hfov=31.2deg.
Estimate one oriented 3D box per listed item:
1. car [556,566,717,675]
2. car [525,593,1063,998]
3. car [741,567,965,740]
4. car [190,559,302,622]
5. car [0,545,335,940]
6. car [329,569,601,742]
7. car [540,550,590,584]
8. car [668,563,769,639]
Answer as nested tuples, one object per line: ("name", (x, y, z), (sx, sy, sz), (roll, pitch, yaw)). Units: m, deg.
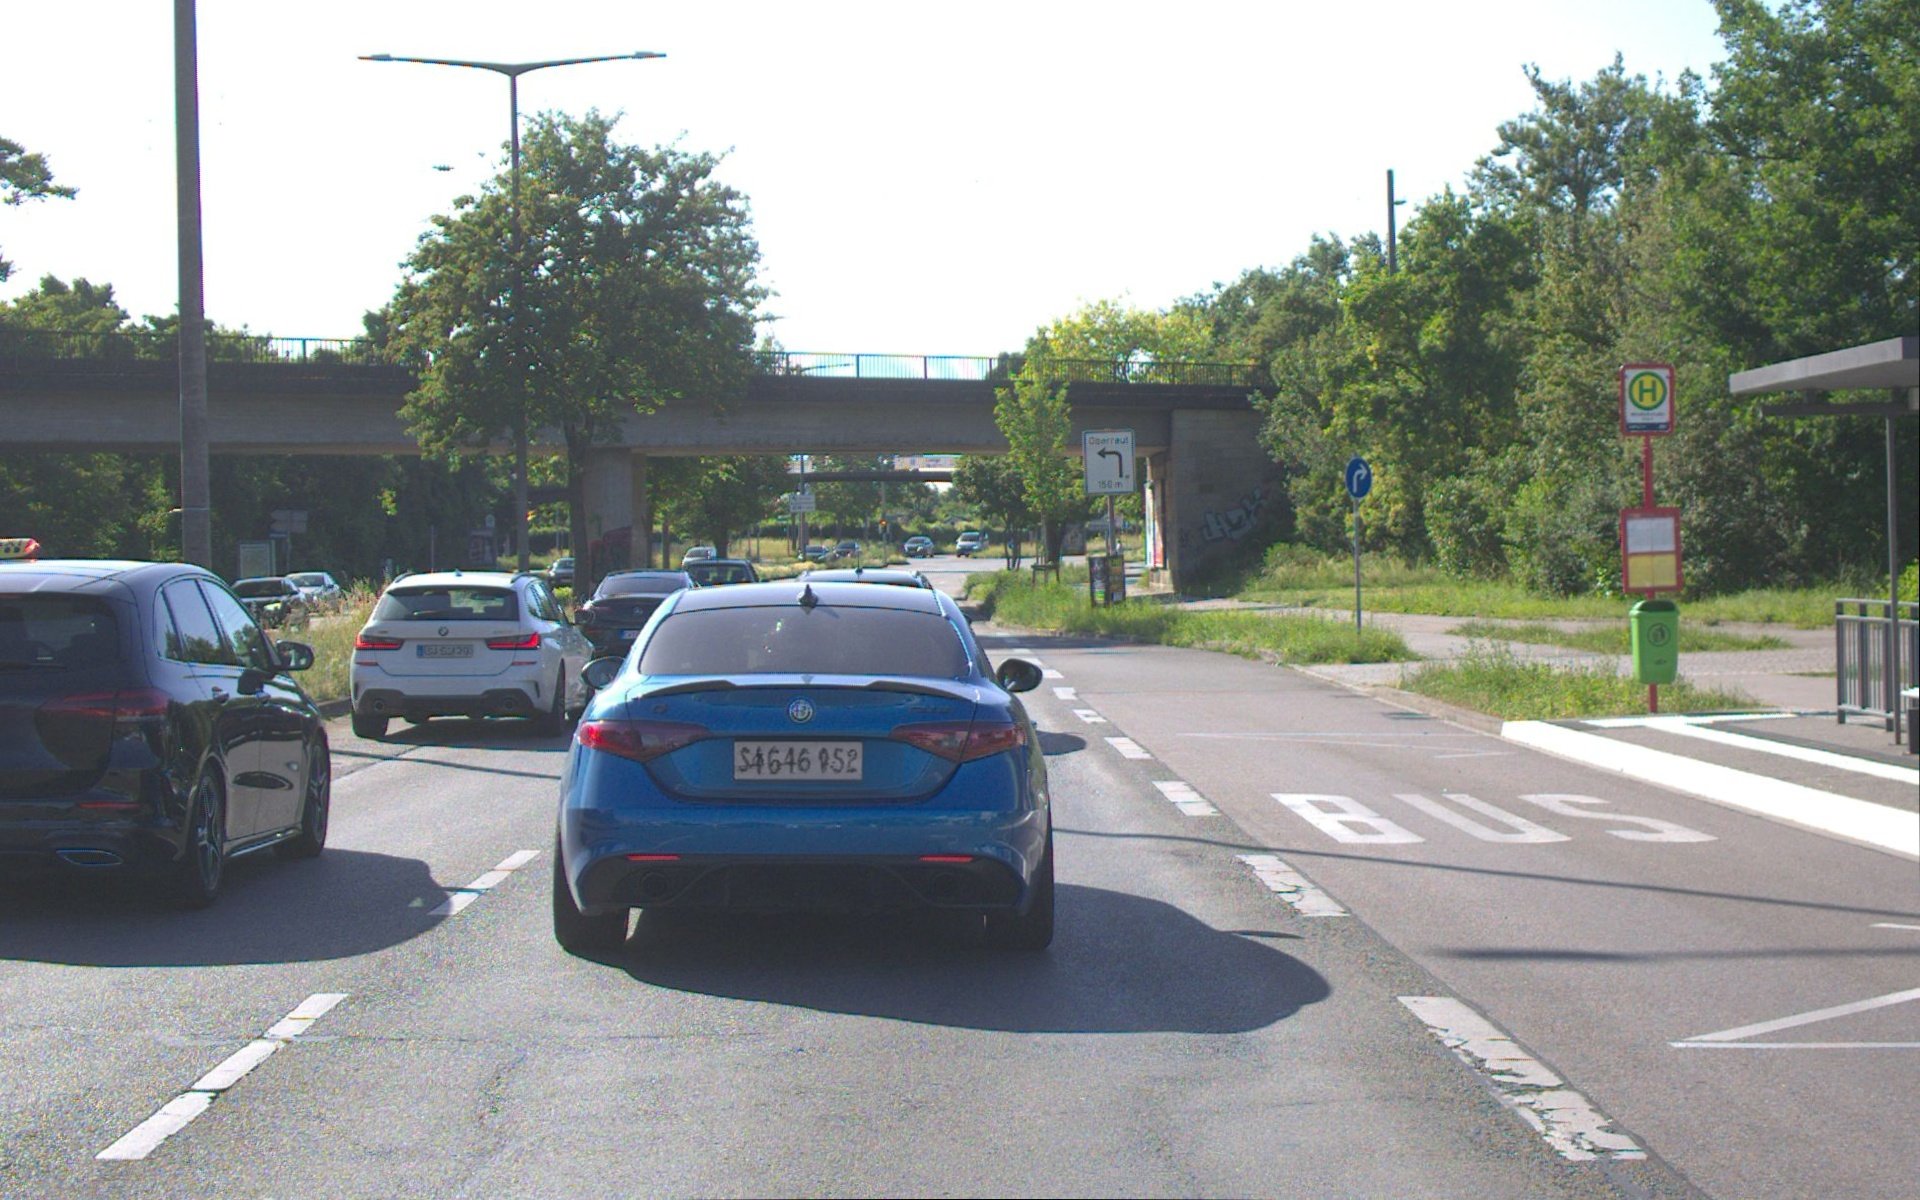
("car", (-4.494, 0.267, 48.332), (1.883, 1.449, 4.526), (0, 0, -1))
("car", (-0.614, 0.685, 14.228), (1.883, 1.401, 4.224), (0, 0, -1))
("car", (-0.940, 0.439, 31.325), (1.883, 1.449, 4.526), (0, 0, -1))
("car", (-17.551, -0.238, 84.682), (1.817, 1.430, 4.631), (-3, 0, -1))
("car", (-4.122, 0.559, 15.981), (1.708, 1.592, 4.224), (0, 0, -1))
("car", (-4.425, 0.459, 31.354), (1.883, 1.449, 4.526), (0, 0, -1))
("car", (-17.765, -1.481, 154.670), (1.816, 1.437, 4.090), (-2, 0, -1))
("car", (-4.846, 0.005, 69.493), (1.779, 1.449, 4.182), (-1, 1, -1))
